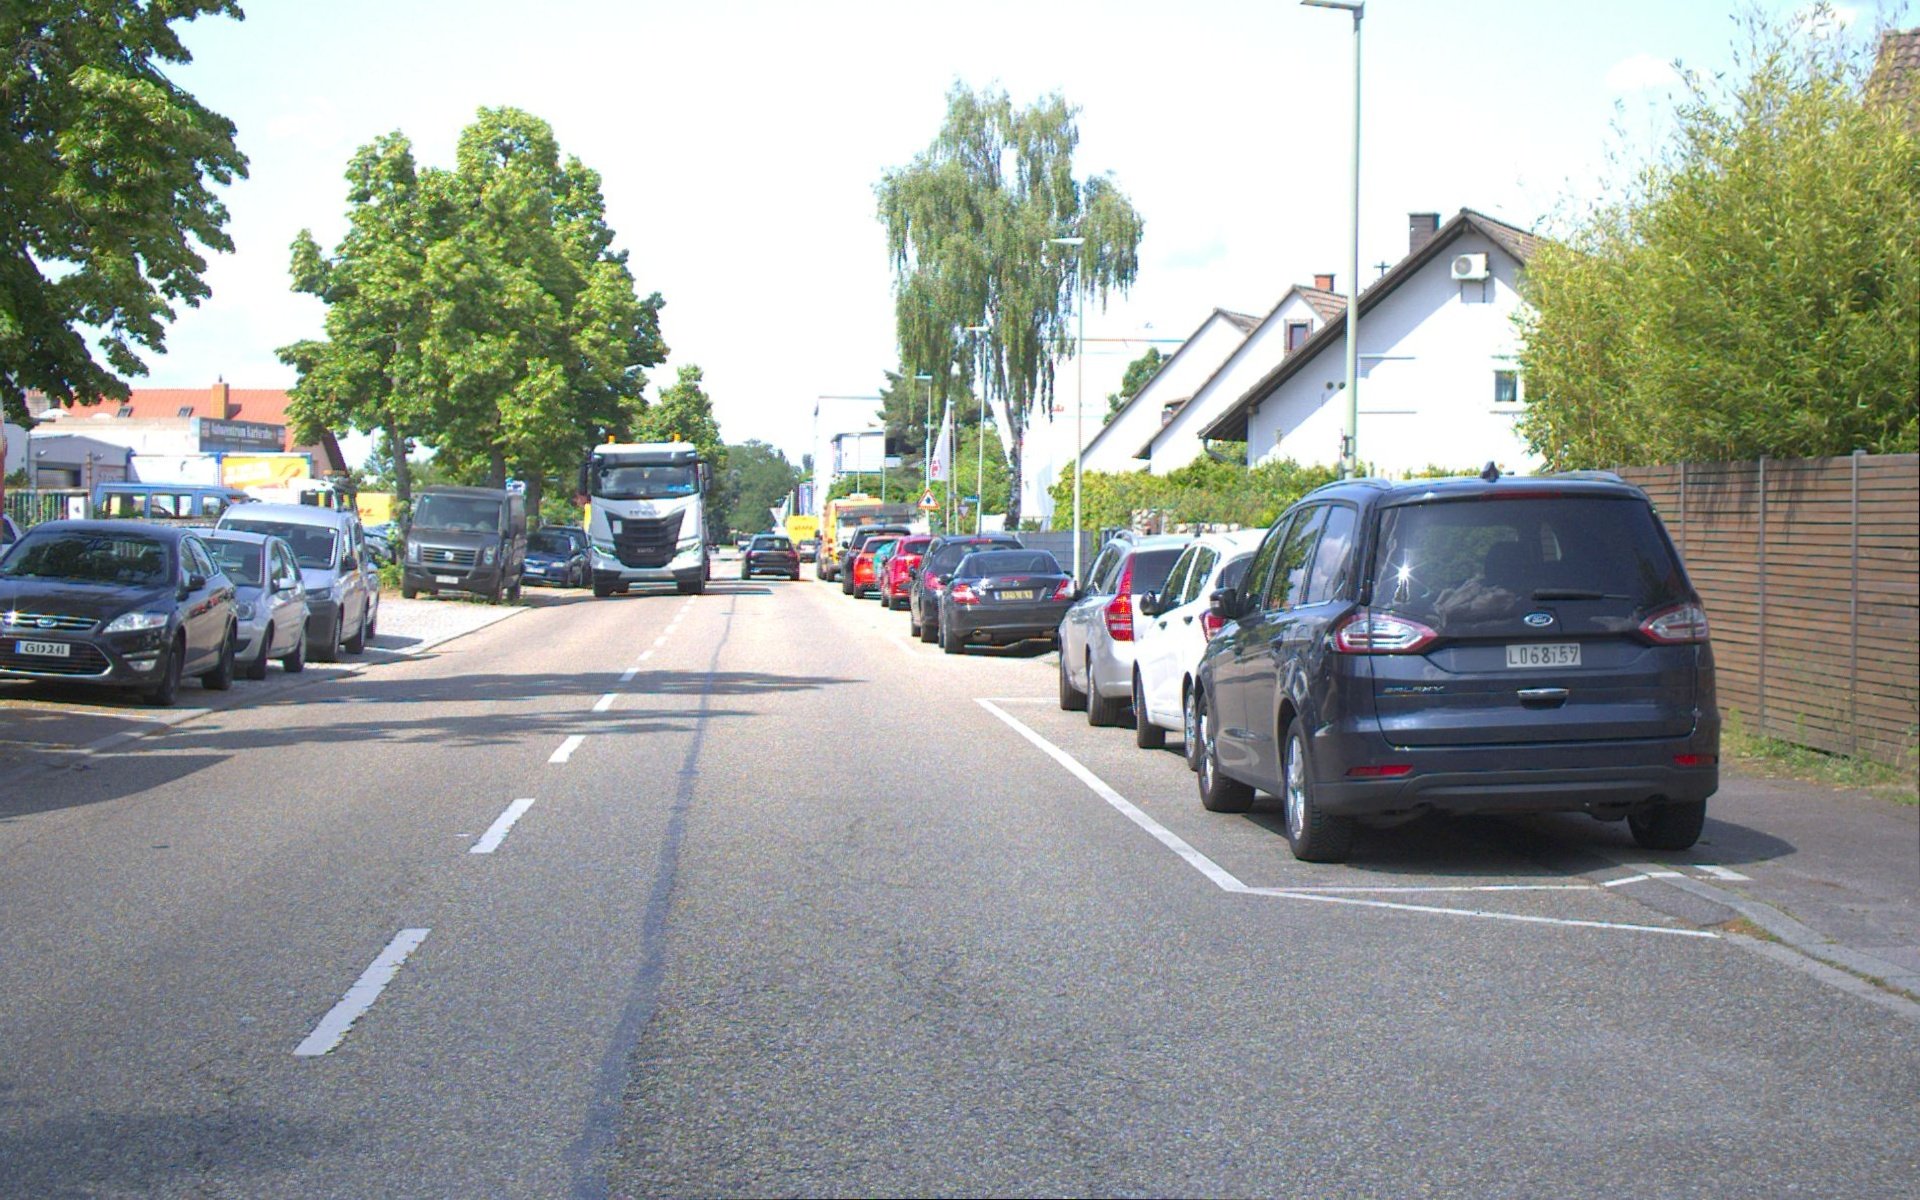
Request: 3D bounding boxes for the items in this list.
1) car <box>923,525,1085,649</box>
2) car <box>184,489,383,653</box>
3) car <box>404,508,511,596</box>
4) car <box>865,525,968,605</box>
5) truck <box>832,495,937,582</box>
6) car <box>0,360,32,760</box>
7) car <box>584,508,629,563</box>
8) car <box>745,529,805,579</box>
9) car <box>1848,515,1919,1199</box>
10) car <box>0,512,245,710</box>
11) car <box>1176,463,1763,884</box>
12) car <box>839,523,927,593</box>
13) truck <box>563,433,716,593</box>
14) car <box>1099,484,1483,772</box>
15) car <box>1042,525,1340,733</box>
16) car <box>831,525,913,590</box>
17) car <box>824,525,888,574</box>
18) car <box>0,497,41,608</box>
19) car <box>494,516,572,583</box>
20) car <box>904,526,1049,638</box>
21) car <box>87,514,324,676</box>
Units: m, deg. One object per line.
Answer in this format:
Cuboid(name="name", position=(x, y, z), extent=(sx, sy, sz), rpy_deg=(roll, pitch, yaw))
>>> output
Cuboid(name="car", position=(0.527, -0.204, 44.894), extent=(1.794, 1.518, 3.974), rpy_deg=(1, 1, -4))
Cuboid(name="car", position=(-8.139, -0.373, 41.692), extent=(1.787, 1.740, 4.436), rpy_deg=(5, 1, -5))
Cuboid(name="car", position=(-10.176, -0.989, 69.859), extent=(1.787, 1.595, 4.436), rpy_deg=(5, 1, -5))
Cuboid(name="car", position=(-0.900, -0.721, 68.348), extent=(1.794, 1.518, 4.532), rpy_deg=(1, 1, -4))
Cuboid(name="truck", position=(-2.112, -1.684, 93.695), extent=(2.568, 2.252, 6.536), rpy_deg=(1, 1, -4))
Cuboid(name="car", position=(-6.901, -0.245, 18.726), extent=(2.064, 2.492, 5.841), rpy_deg=(5, 1, -1))
Cuboid(name="car", position=(-14.531, -2.651, 141.629), extent=(1.787, 2.244, 4.773), rpy_deg=(0, 1, -5))
Cuboid(name="car", position=(-5.927, -1.480, 109.762), extent=(1.794, 1.518, 4.532), rpy_deg=(1, 1, -5))
Cuboid(name="car", position=(2.833, 0.634, 5.015), extent=(1.737, 1.504, 4.476), rpy_deg=(1, 1, -2))
Cuboid(name="car", position=(-7.344, 0.042, 29.454), extent=(1.787, 1.452, 4.436), rpy_deg=(5, 1, -5))
Cuboid(name="car", position=(2.275, 0.260, 16.634), extent=(1.794, 1.742, 4.585), rpy_deg=(1, 1, -5))
Cuboid(name="car", position=(-1.770, -0.979, 78.103), extent=(1.794, 1.518, 4.532), rpy_deg=(1, 1, -4))
Cuboid(name="truck", position=(-7.554, -2.069, 82.474), extent=(2.863, 3.500, 12.356), rpy_deg=(1, 1, -2))
Cuboid(name="car", position=(2.105, 0.131, 22.958), extent=(1.794, 1.742, 3.974), rpy_deg=(1, 1, -6))
Cuboid(name="car", position=(1.766, 0.176, 27.540), extent=(1.794, 1.518, 3.974), rpy_deg=(1, 1, -5))
Cuboid(name="car", position=(-2.153, -1.043, 82.858), extent=(1.794, 1.518, 4.532), rpy_deg=(1, 1, -4))
Cuboid(name="car", position=(-3.341, -1.642, 110.112), extent=(1.794, 1.518, 4.532), rpy_deg=(1, 1, -5))
Cuboid(name="car", position=(-13.560, -0.684, 44.654), extent=(1.787, 1.452, 4.435), rpy_deg=(5, 1, 3))
Cuboid(name="car", position=(-11.302, -1.344, 91.124), extent=(1.787, 1.595, 4.436), rpy_deg=(5, 1, -5))
Cuboid(name="car", position=(0.192, -0.294, 49.351), extent=(1.794, 1.518, 3.974), rpy_deg=(1, 1, -4))
Cuboid(name="car", position=(-7.833, -0.088, 36.048), extent=(1.787, 1.452, 4.436), rpy_deg=(5, 1, -5))
